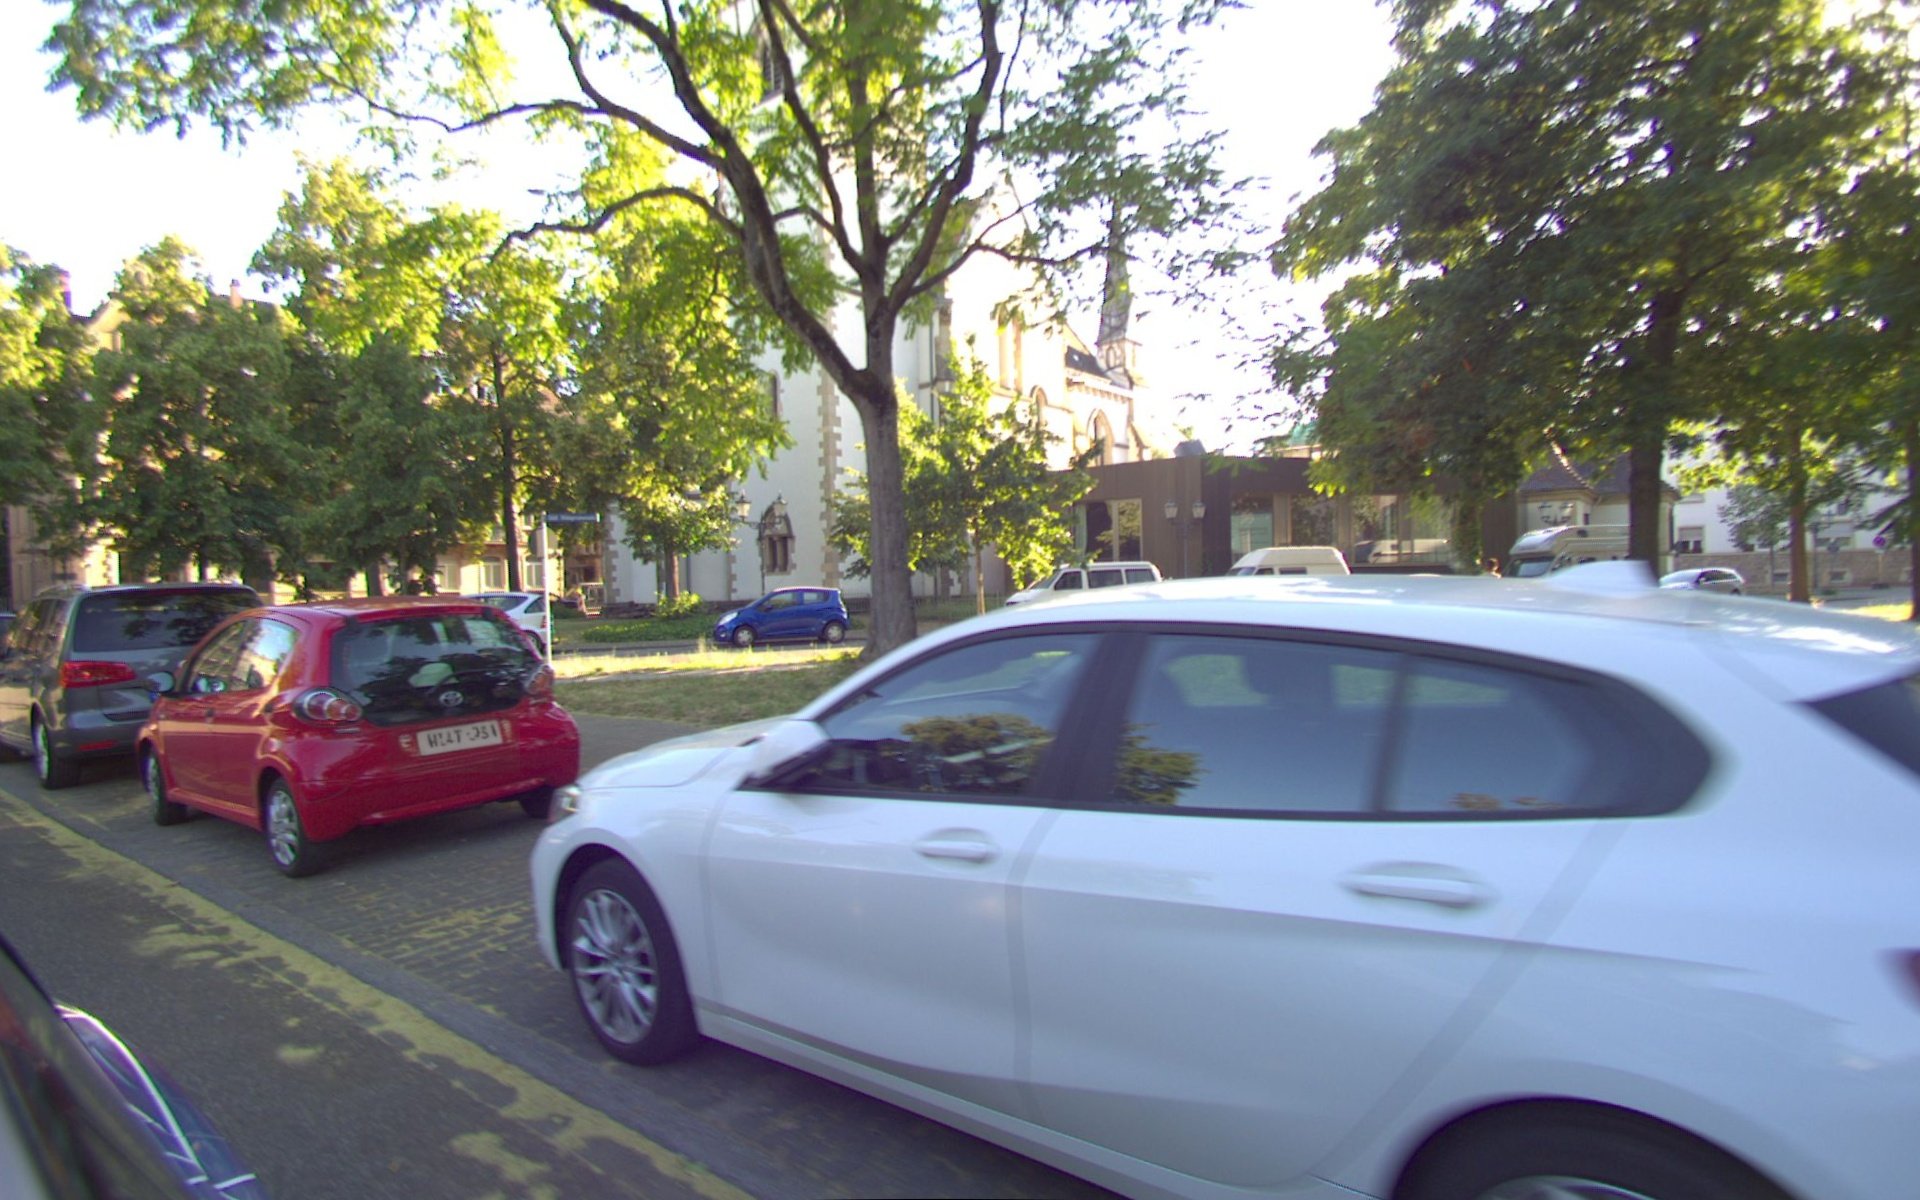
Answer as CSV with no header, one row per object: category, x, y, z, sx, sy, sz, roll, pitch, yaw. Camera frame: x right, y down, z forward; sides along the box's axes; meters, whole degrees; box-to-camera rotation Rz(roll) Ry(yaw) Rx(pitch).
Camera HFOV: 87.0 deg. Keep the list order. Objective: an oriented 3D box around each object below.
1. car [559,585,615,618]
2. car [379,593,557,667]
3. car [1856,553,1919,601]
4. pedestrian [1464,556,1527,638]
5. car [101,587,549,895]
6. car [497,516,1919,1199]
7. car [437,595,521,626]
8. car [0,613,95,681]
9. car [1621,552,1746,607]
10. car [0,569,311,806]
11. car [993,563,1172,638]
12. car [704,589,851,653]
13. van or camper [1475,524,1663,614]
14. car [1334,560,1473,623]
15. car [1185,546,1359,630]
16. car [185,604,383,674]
car,-27.361,0.110,74.253,4.214,2.278,1.868,-1,0,38
car,-11.898,0.690,24.721,3.634,1.591,1.715,-2,1,-17
car,39.314,-0.971,41.737,4.072,1.900,1.863,-2,1,-22
pedestrian,10.674,-0.066,20.209,0.756,1.586,0.777,-2,0,-7
car,-4.217,0.706,6.533,3.423,1.434,1.374,-1,3,39
car,0.559,0.585,2.747,3.971,1.416,1.674,-1,3,39
car,-29.372,0.625,61.835,1.997,1.668,4.167,-1,1,38
car,-22.156,1.105,22.233,4.419,1.426,1.835,-2,-1,-15
car,26.890,-0.755,37.638,4.072,1.900,1.863,-2,1,-22
car,-7.943,0.654,9.512,4.316,1.688,1.784,-1,3,39
car,3.538,-0.015,29.334,4.758,1.961,1.863,-2,1,-17
car,-4.874,0.516,26.894,3.634,1.512,1.626,-2,1,-17
van or camper,21.402,-1.107,35.545,6.223,2.929,2.103,-2,1,-19
car,14.612,-0.308,33.359,4.072,1.900,1.863,-2,1,-22
car,9.707,-0.401,31.463,5.096,2.373,1.863,-2,1,-22
car,-15.819,0.887,23.865,3.545,1.451,1.622,-2,-1,-15
